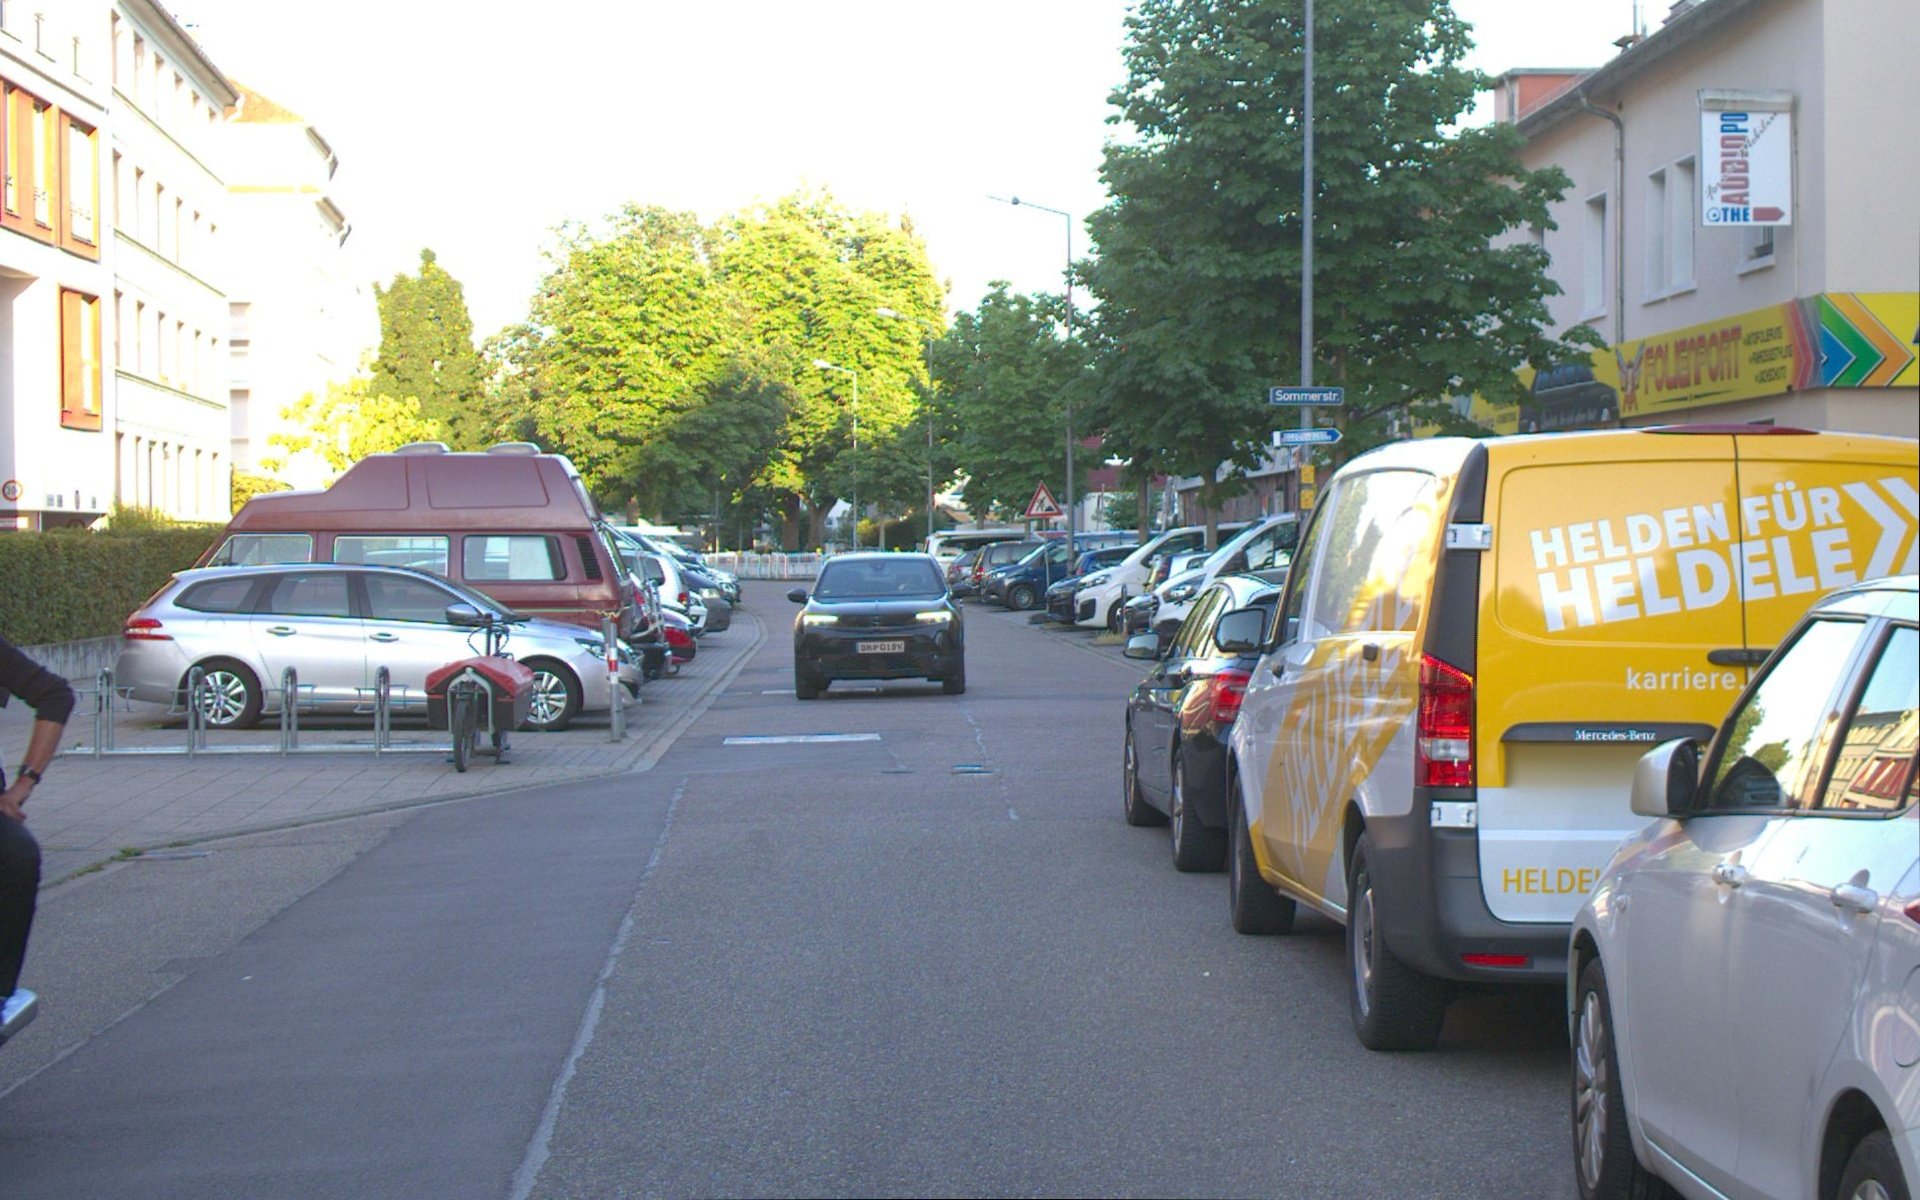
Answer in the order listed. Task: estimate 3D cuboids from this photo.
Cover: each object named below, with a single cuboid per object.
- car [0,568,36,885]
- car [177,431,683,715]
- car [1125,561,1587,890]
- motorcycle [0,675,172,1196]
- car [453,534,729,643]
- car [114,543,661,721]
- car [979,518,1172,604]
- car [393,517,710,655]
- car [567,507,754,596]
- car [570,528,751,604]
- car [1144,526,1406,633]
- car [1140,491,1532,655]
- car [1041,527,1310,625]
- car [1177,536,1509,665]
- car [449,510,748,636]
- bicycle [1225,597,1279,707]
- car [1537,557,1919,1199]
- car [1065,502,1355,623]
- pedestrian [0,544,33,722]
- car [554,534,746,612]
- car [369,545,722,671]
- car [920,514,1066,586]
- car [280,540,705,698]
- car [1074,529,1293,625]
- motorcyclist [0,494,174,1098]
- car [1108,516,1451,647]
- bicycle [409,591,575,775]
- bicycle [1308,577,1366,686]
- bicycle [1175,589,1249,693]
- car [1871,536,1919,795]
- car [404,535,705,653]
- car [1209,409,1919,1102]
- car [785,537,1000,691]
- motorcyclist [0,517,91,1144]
[{"bbox_3d":[-5.379,0.635,15.429,1.650,1.525,4.018,0,1,-4],"label":"car"},{"bbox_3d":[-5.020,-0.269,33.033,4.511,2.575,2.000,1,1,0],"label":"car"},{"bbox_3d":[1.871,0.539,17.481,1.721,1.419,4.254,1,1,-2],"label":"car"},{"bbox_3d":[-2.744,0.850,8.392,0.846,1.205,2.074,-3,1,8],"label":"motorcycle"},{"bbox_3d":[-5.914,-0.197,55.453,4.256,1.646,1.888,1,1,-1],"label":"car"},{"bbox_3d":[-4.983,0.263,30.463,4.615,1.455,1.881,1,1,-4],"label":"car"},{"bbox_3d":[2.814,-0.958,84.286,4.478,1.905,1.688,-2,1,-6],"label":"car"},{"bbox_3d":[-5.725,-0.211,48.626,4.256,1.830,2.000,1,1,-1],"label":"car"},{"bbox_3d":[-7.502,-1.218,86.483,4.533,2.127,2.000,1,1,-1],"label":"car"},{"bbox_3d":[-7.284,-0.837,83.854,4.256,1.743,2.000,1,1,-1],"label":"car"},{"bbox_3d":[4.977,-0.340,54.708,3.911,1.521,1.939,-2,1,0],"label":"car"},{"bbox_3d":[5.049,-0.380,46.729,4.989,1.976,2.220,-2,1,-1],"label":"car"},{"bbox_3d":[4.149,-0.478,66.827,4.943,1.683,2.077,-2,1,-3],"label":"car"},{"bbox_3d":[4.858,-0.008,43.944,3.918,1.446,1.768,-3,1,-4],"label":"car"},{"bbox_3d":[-6.056,-0.467,58.003,4.850,2.014,1.907,1,1,-1],"label":"car"},{"bbox_3d":[3.367,0.588,39.773,0.386,1.196,2.017,-2,1,-1],"label":"bicycle"},{"bbox_3d":[2.235,0.667,6.551,1.674,1.472,3.862,0,1,1],"label":"car"},{"bbox_3d":[4.477,-0.684,62.046,4.943,1.951,2.049,-2,1,-3],"label":"car"},{"bbox_3d":[-8.460,0.270,29.404,0.832,1.496,0.798,1,1,-1],"label":"pedestrian"},{"bbox_3d":[-7.101,-0.624,79.087,4.256,1.709,2.000,1,1,-1],"label":"car"},{"bbox_3d":[-5.167,0.082,43.216,4.209,1.484,1.850,1,1,-1],"label":"car"},{"bbox_3d":[0.953,-1.444,99.867,3.967,1.905,2.050,-2,1,-6],"label":"car"},{"bbox_3d":[-4.786,0.179,35.613,4.208,1.533,1.791,1,1,-3],"label":"car"},{"bbox_3d":[4.643,-0.489,71.742,4.316,1.798,1.811,-2,1,-3],"label":"car"},{"bbox_3d":[-2.598,0.511,9.094,0.787,1.535,0.545,-3,1,8],"label":"motorcyclist"},{"bbox_3d":[4.795,-0.295,52.129,4.944,1.736,2.049,-2,1,0],"label":"car"},{"bbox_3d":[-3.395,0.568,25.193,0.807,1.217,2.865,1,1,0],"label":"bicycle"},{"bbox_3d":[4.357,0.351,39.803,0.386,1.196,2.017,-2,1,-1],"label":"bicycle"},{"bbox_3d":[2.892,0.461,39.571,0.438,1.126,2.018,-2,1,-7],"label":"bicycle"},{"bbox_3d":[6.210,0.361,17.558,1.726,1.419,4.424,-2,1,-3],"label":"car"},{"bbox_3d":[-5.978,-0.101,51.096,4.256,1.654,2.000,1,1,-1],"label":"car"},{"bbox_3d":[2.062,0.381,11.873,1.893,1.877,5.082,0,1,-2],"label":"car"},{"bbox_3d":[-0.666,0.111,36.933,1.780,1.512,3.999,-2,1,6],"label":"car"},{"bbox_3d":[-2.761,0.572,8.333,0.890,1.500,0.969,-3,1,8],"label":"motorcyclist"}]
